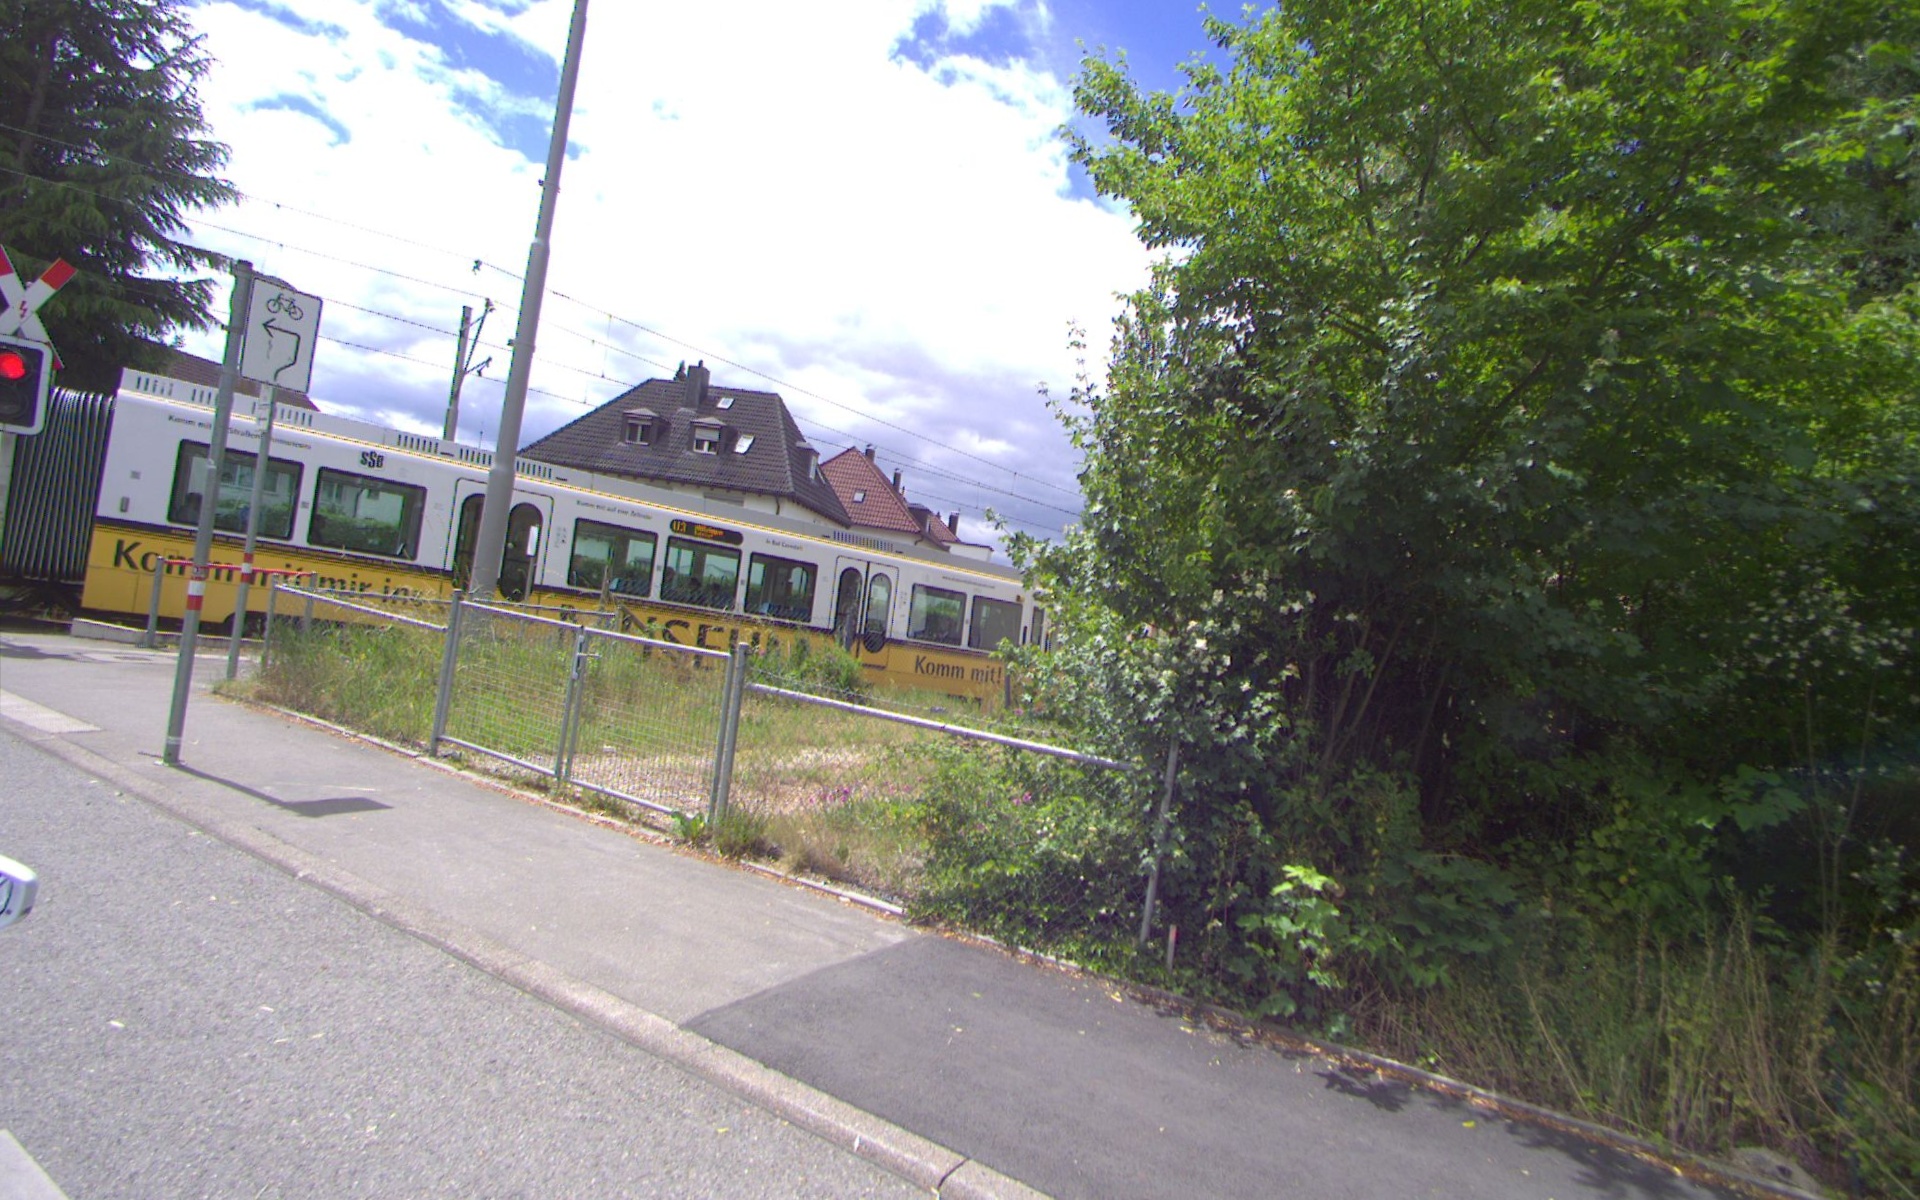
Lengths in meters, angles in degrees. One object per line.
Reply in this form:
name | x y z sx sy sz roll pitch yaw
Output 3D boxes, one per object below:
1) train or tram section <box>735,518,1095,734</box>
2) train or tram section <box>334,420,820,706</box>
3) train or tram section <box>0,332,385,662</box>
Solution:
train or tram section | -0.845 0.750 23.312 7.655 3.762 2.842 10 -3 -36
train or tram section | -6.900 -0.398 18.838 7.655 3.762 2.842 10 -3 -36
train or tram section | -12.970 -1.557 14.372 7.655 3.762 2.842 10 -3 -36
